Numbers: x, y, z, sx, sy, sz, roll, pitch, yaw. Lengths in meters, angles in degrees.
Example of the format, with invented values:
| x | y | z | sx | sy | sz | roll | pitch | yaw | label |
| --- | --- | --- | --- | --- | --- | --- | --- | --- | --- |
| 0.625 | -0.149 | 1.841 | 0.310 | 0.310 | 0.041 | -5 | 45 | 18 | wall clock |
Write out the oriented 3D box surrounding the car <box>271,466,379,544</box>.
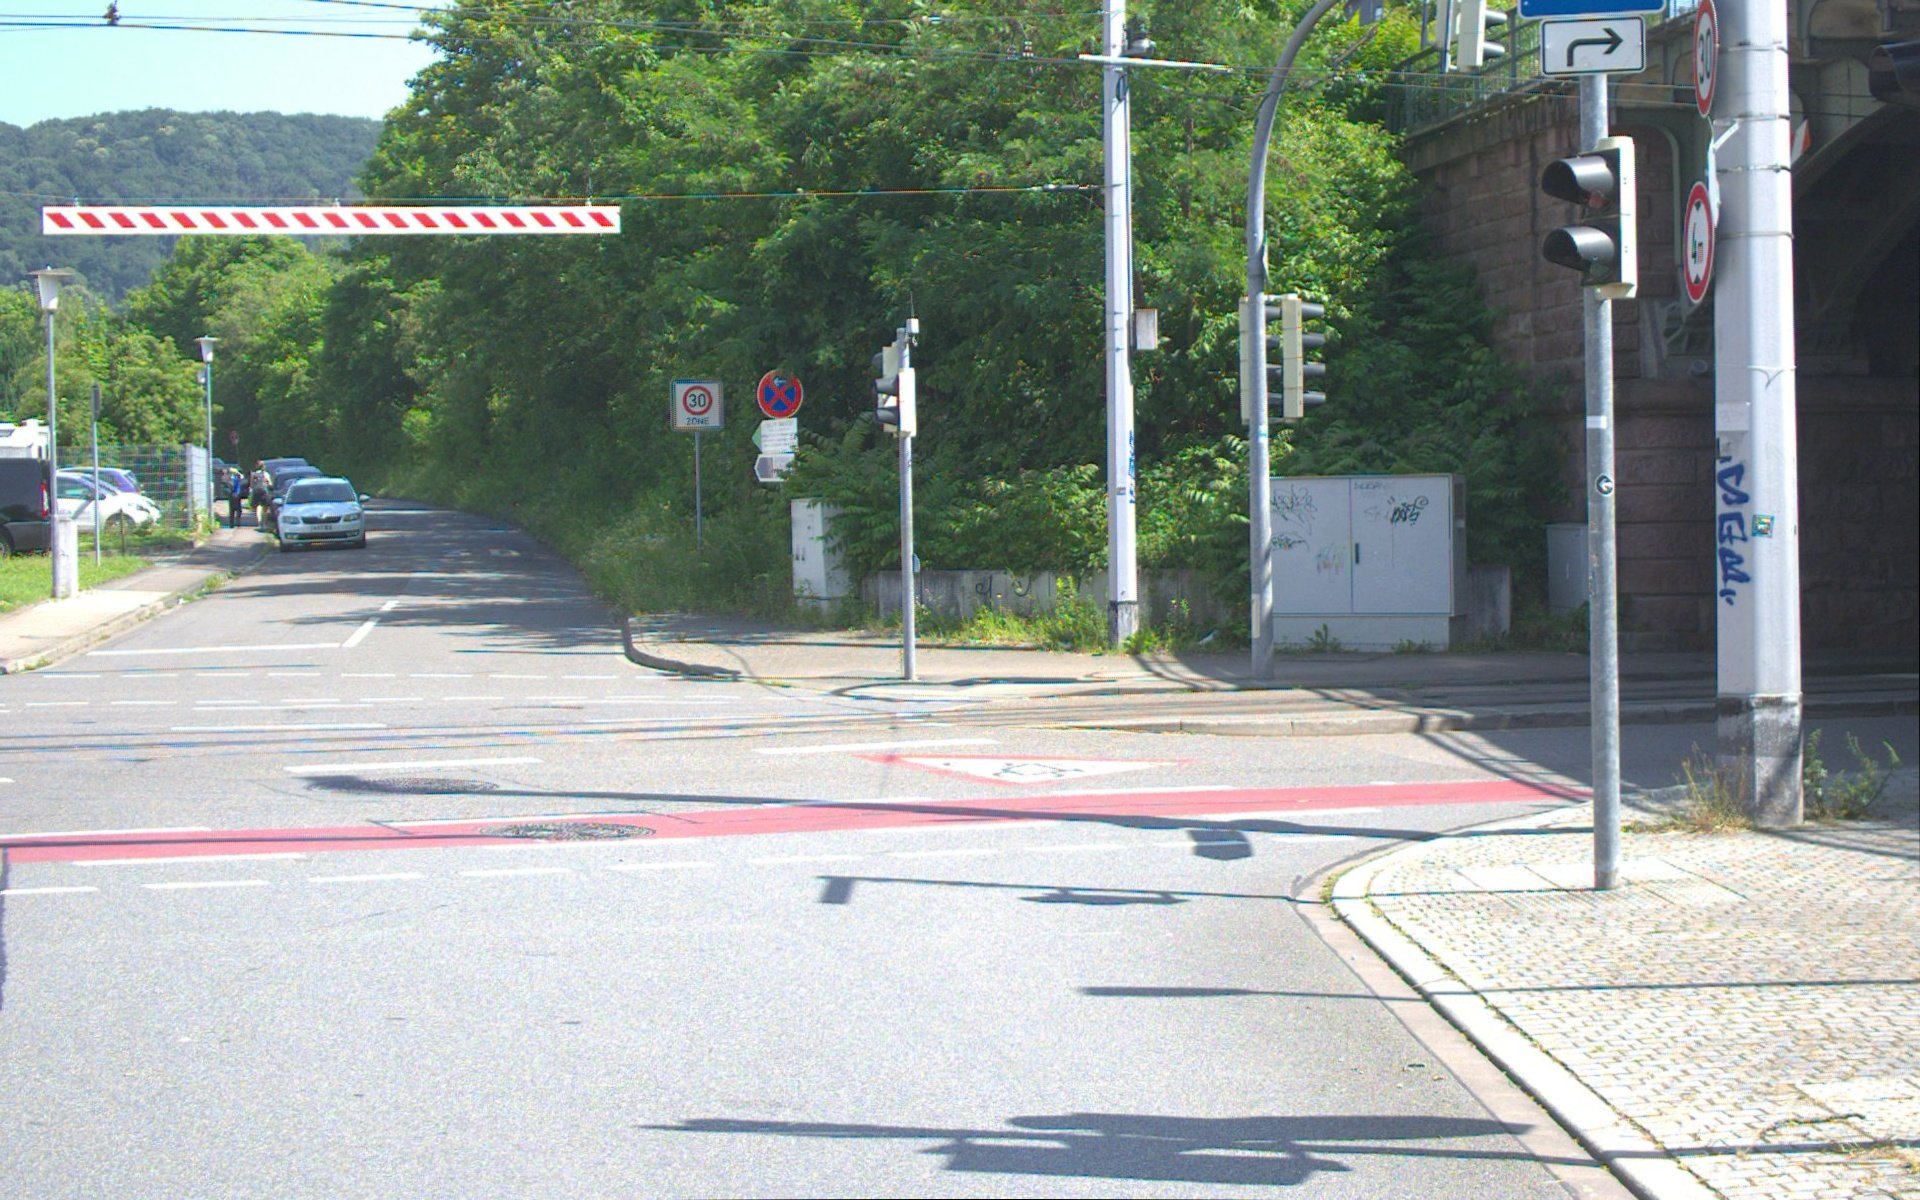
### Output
| x | y | z | sx | sy | sz | roll | pitch | yaw | label |
| --- | --- | --- | --- | --- | --- | --- | --- | --- | --- |
| -13.394 | -2.024 | 72.724 | 2.086 | 1.505 | 4.541 | 1 | 3 | -9 | car |

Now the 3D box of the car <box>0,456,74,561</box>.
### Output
| x | y | z | sx | sy | sz | roll | pitch | yaw | label |
| --- | --- | --- | --- | --- | --- | --- | --- | --- | --- |
| -18.572 | -1.585 | 61.188 | 5.246 | 1.810 | 2.001 | -2 | 2 | -10 | car |

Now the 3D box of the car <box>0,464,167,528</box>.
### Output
| x | y | z | sx | sy | sz | roll | pitch | yaw | label |
| --- | --- | --- | --- | --- | --- | --- | --- | --- | --- |
| -19.927 | -2.340 | 77.815 | 3.719 | 1.367 | 1.605 | 1 | 1 | -7 | car |

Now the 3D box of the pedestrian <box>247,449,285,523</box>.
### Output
| x | y | z | sx | sy | sz | roll | pitch | yaw | label |
| --- | --- | --- | --- | --- | --- | --- | --- | --- | --- |
| -16.792 | -2.759 | 83.197 | 0.875 | 1.756 | 0.731 | 1 | 0 | -9 | pedestrian |

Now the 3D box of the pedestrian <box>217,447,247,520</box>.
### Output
| x | y | z | sx | sy | sz | roll | pitch | yaw | label |
| --- | --- | --- | --- | --- | --- | --- | --- | --- | --- |
| -17.625 | -2.817 | 83.207 | 0.653 | 1.756 | 0.804 | 1 | 0 | -9 | pedestrian |

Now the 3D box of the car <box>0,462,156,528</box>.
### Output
| x | y | z | sx | sy | sz | roll | pitch | yaw | label |
| --- | --- | --- | --- | --- | --- | --- | --- | --- | --- |
| -19.632 | -2.295 | 75.396 | 3.719 | 1.367 | 1.605 | 1 | 0 | -7 | car |
